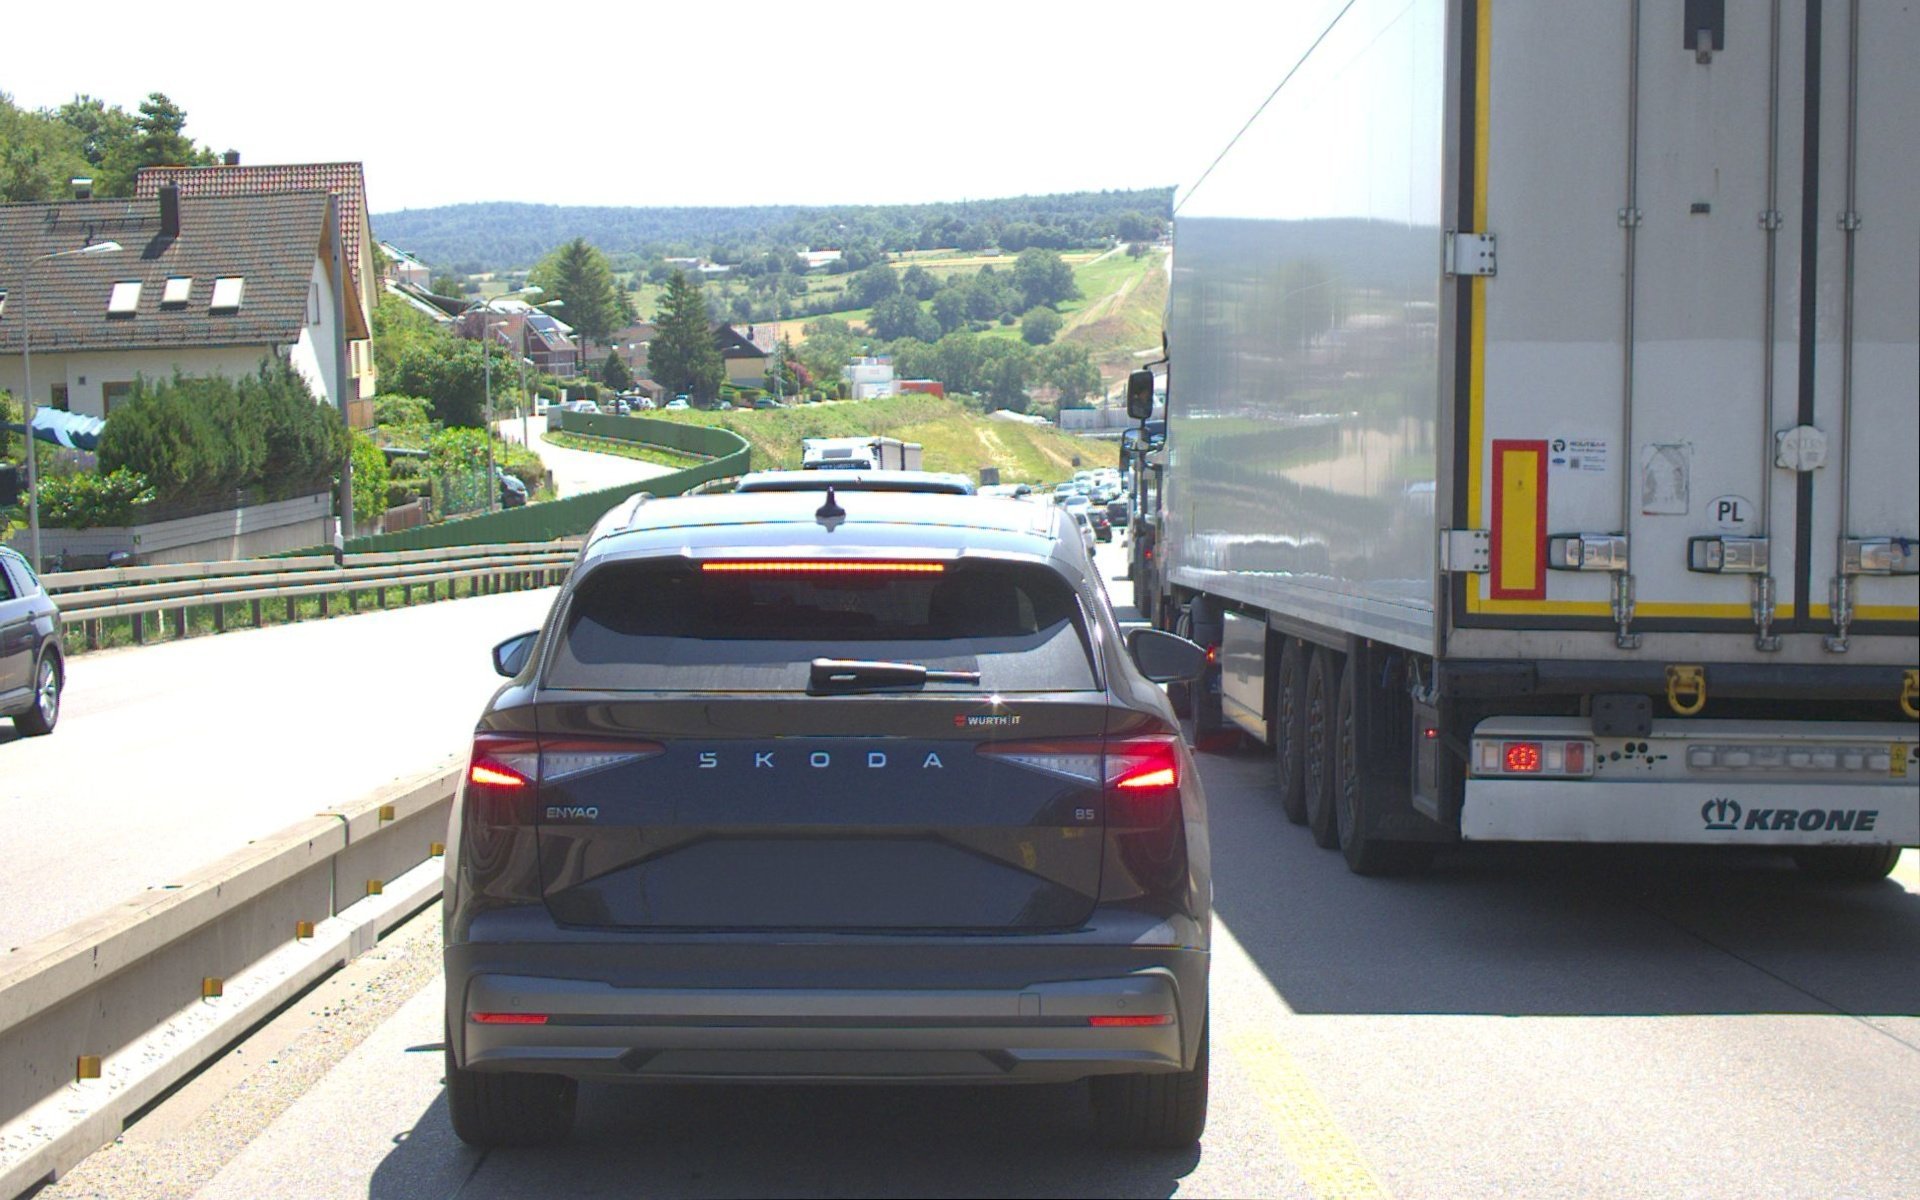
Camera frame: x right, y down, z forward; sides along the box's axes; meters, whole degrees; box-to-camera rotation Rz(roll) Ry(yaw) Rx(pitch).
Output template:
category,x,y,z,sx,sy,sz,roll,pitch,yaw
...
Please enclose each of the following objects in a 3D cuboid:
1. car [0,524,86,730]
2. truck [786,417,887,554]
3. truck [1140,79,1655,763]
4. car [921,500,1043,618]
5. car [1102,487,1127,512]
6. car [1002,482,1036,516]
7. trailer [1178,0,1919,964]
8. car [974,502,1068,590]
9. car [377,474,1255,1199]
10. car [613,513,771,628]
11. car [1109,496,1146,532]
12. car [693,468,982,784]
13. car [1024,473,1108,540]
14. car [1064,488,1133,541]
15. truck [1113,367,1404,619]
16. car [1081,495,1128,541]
category,x,y,z,sx,sy,sz,roll,pitch,yaw
car,-7.520,0.198,23.652,1.841,1.413,4.687,-1,0,0
truck,-3.936,-3.663,110.499,2.752,4.268,4.957,1,2,3
truck,2.803,-1.091,24.460,2.513,4.011,8.238,1,0,0
car,0.287,-0.642,50.686,1.707,1.616,4.001,1,2,-1
car,11.383,-7.385,253.770,1.701,1.722,3.836,1,0,4
car,3.166,-5.417,184.280,1.701,1.722,3.836,1,0,0
trailer,2.819,-0.855,17.650,2.532,4.113,11.548,1,0,0
car,1.177,-1.077,67.466,1.707,1.616,4.001,1,2,-1
car,-0.441,0.519,9.246,1.842,1.581,3.908,1,0,-4
car,-3.463,-0.417,44.997,1.718,1.403,4.000,-1,2,0
car,8.341,-4.277,171.227,1.701,1.722,3.836,1,0,4
car,-0.878,0.090,22.615,1.706,1.875,4.001,1,2,-4
car,2.632,-2.336,86.329,1.993,1.579,3.836,1,0,0
car,4.333,-2.668,107.931,1.993,1.579,3.836,1,0,0
truck,4.070,-1.419,50.062,3.195,3.180,12.809,0,0,0
car,5.644,-3.180,134.084,1.701,1.722,3.836,1,0,4
